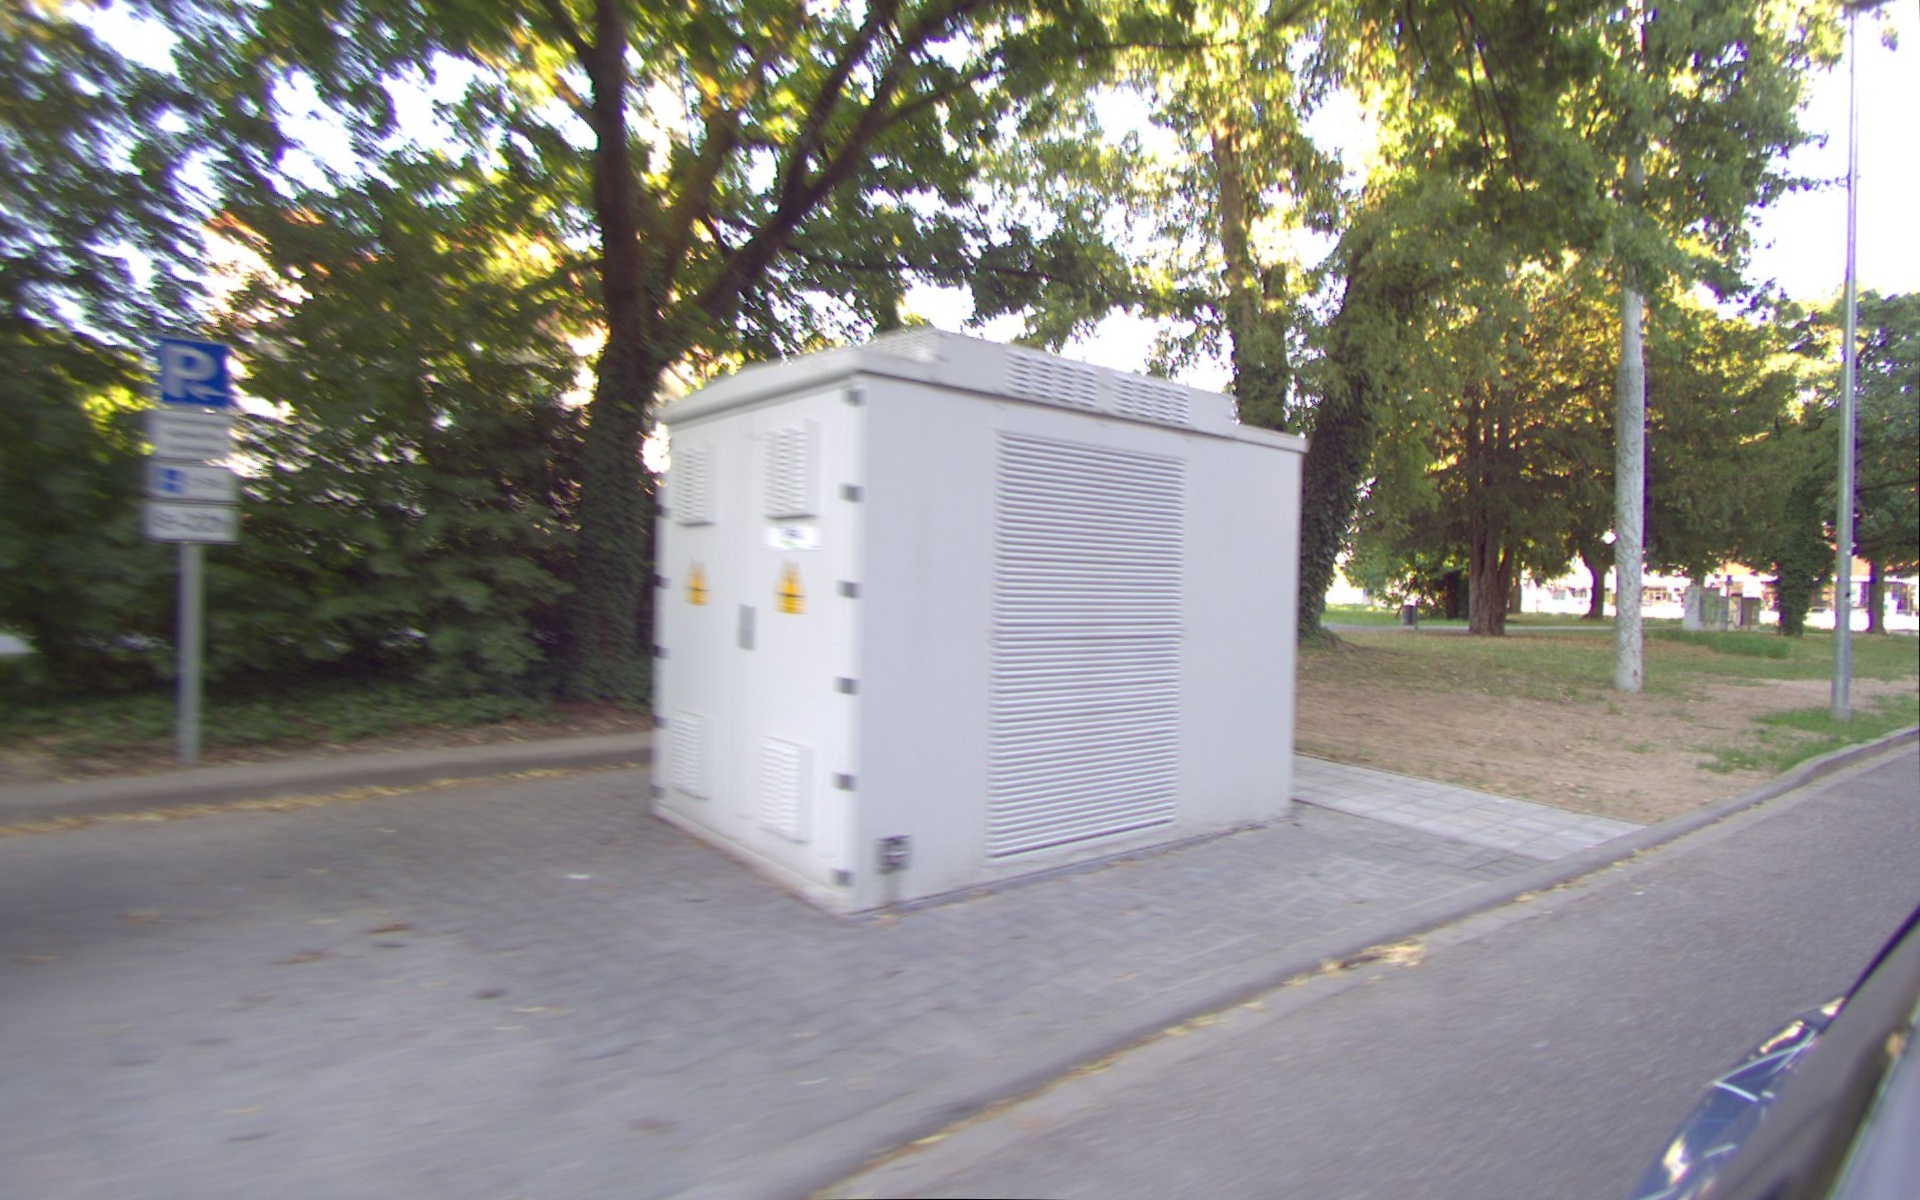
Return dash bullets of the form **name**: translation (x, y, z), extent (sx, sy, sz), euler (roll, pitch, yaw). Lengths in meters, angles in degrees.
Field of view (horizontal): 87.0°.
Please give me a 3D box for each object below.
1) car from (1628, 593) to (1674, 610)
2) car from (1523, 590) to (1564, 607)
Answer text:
- **car**: translation (80.430, 0.151, 117.829), extent (1.961, 1.819, 4.744), euler (1, 1, -2)
- **car**: translation (69.640, -0.203, 120.930), extent (1.962, 1.819, 4.897), euler (1, 1, -1)
